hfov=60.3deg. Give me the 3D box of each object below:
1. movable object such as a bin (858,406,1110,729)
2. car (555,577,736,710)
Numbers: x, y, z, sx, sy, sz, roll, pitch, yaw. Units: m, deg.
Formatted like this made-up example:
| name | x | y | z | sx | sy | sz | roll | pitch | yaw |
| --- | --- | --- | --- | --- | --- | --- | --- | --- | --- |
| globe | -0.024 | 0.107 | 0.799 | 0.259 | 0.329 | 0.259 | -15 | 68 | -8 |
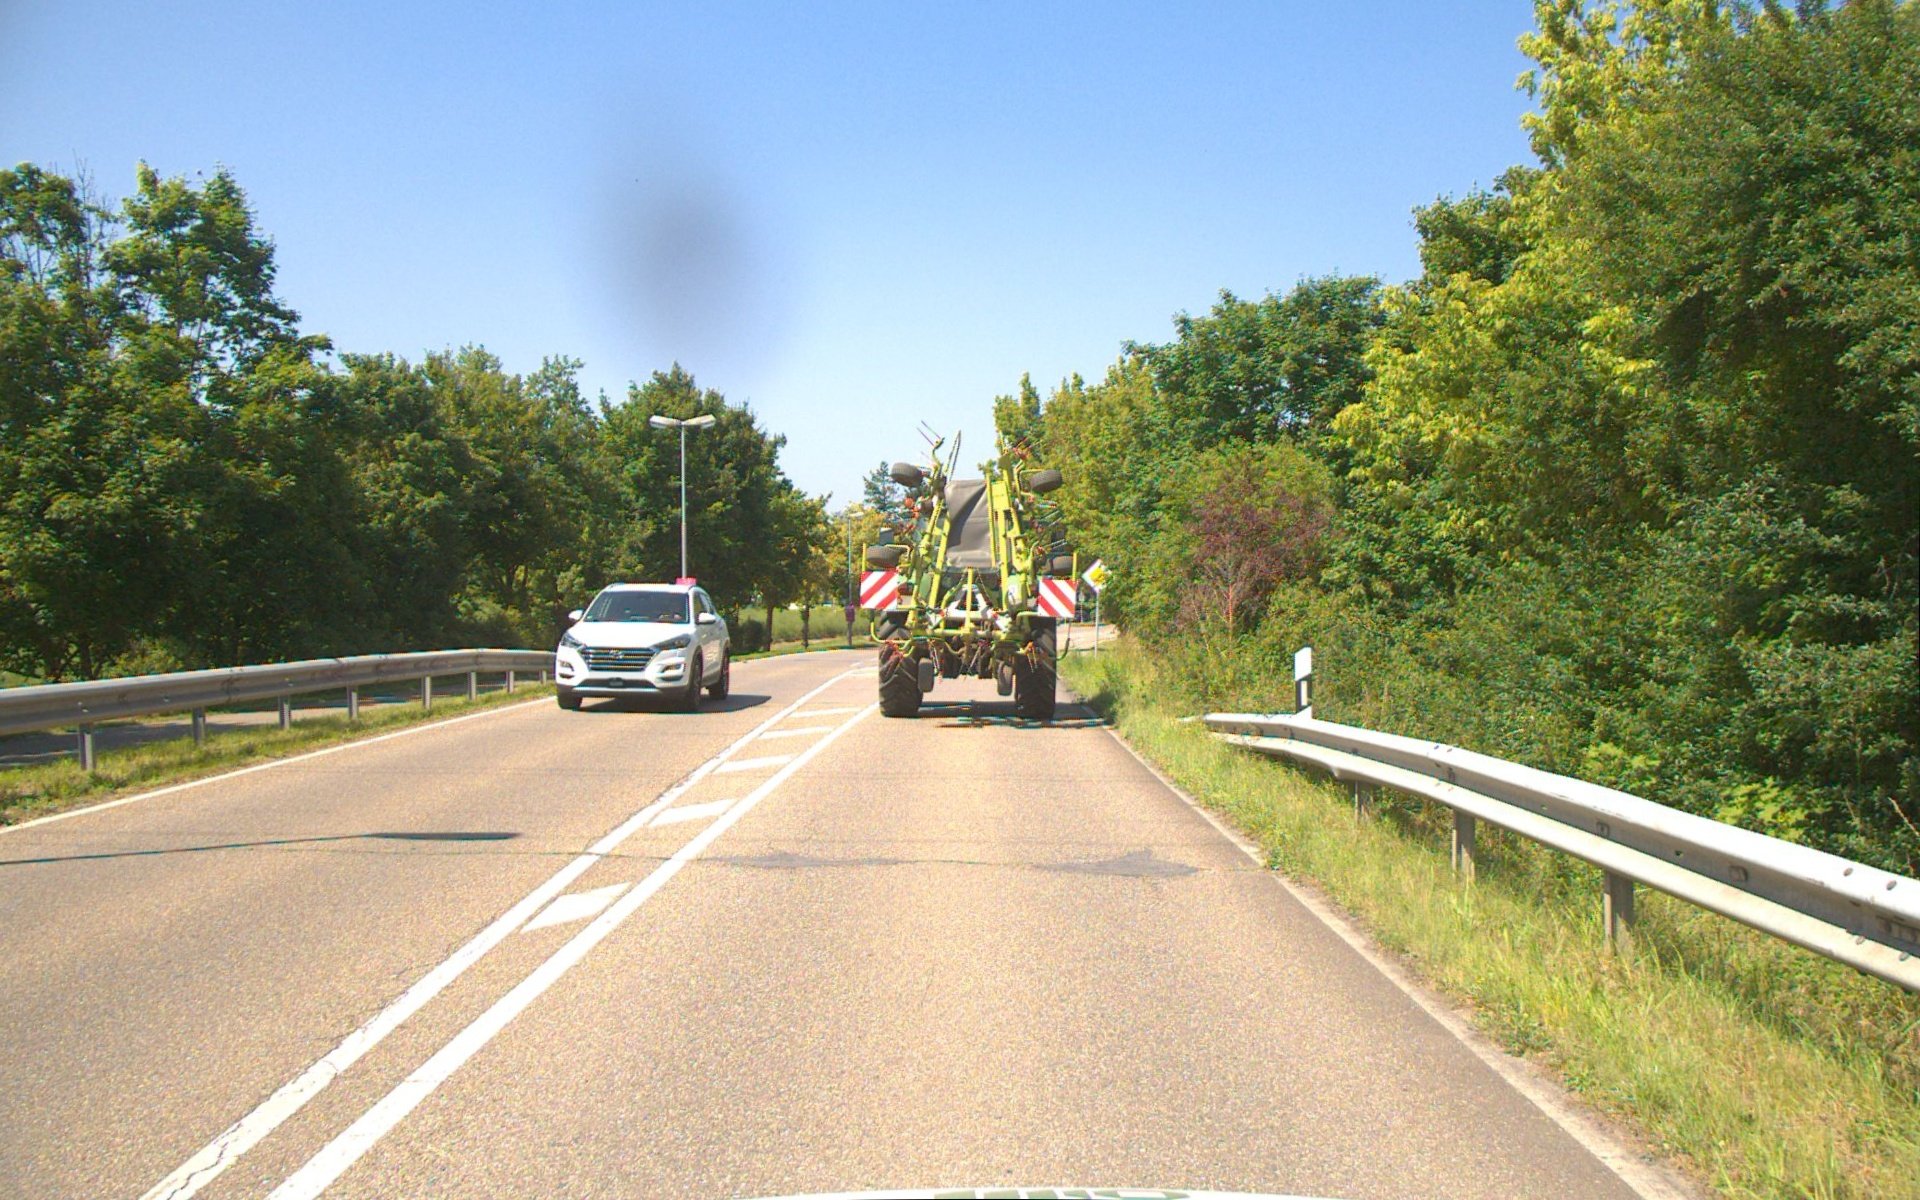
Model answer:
| name | x | y | z | sx | sy | sz | roll | pitch | yaw |
| --- | --- | --- | --- | --- | --- | --- | --- | --- | --- |
| movable object such as a bin | 0.144 | -0.363 | 23.515 | 2.795 | 3.603 | 9.697 | 1 | 0 | -2 |
| car | -4.273 | 0.547 | 23.074 | 1.787 | 1.668 | 4.140 | 1 | 0 | -1 |
